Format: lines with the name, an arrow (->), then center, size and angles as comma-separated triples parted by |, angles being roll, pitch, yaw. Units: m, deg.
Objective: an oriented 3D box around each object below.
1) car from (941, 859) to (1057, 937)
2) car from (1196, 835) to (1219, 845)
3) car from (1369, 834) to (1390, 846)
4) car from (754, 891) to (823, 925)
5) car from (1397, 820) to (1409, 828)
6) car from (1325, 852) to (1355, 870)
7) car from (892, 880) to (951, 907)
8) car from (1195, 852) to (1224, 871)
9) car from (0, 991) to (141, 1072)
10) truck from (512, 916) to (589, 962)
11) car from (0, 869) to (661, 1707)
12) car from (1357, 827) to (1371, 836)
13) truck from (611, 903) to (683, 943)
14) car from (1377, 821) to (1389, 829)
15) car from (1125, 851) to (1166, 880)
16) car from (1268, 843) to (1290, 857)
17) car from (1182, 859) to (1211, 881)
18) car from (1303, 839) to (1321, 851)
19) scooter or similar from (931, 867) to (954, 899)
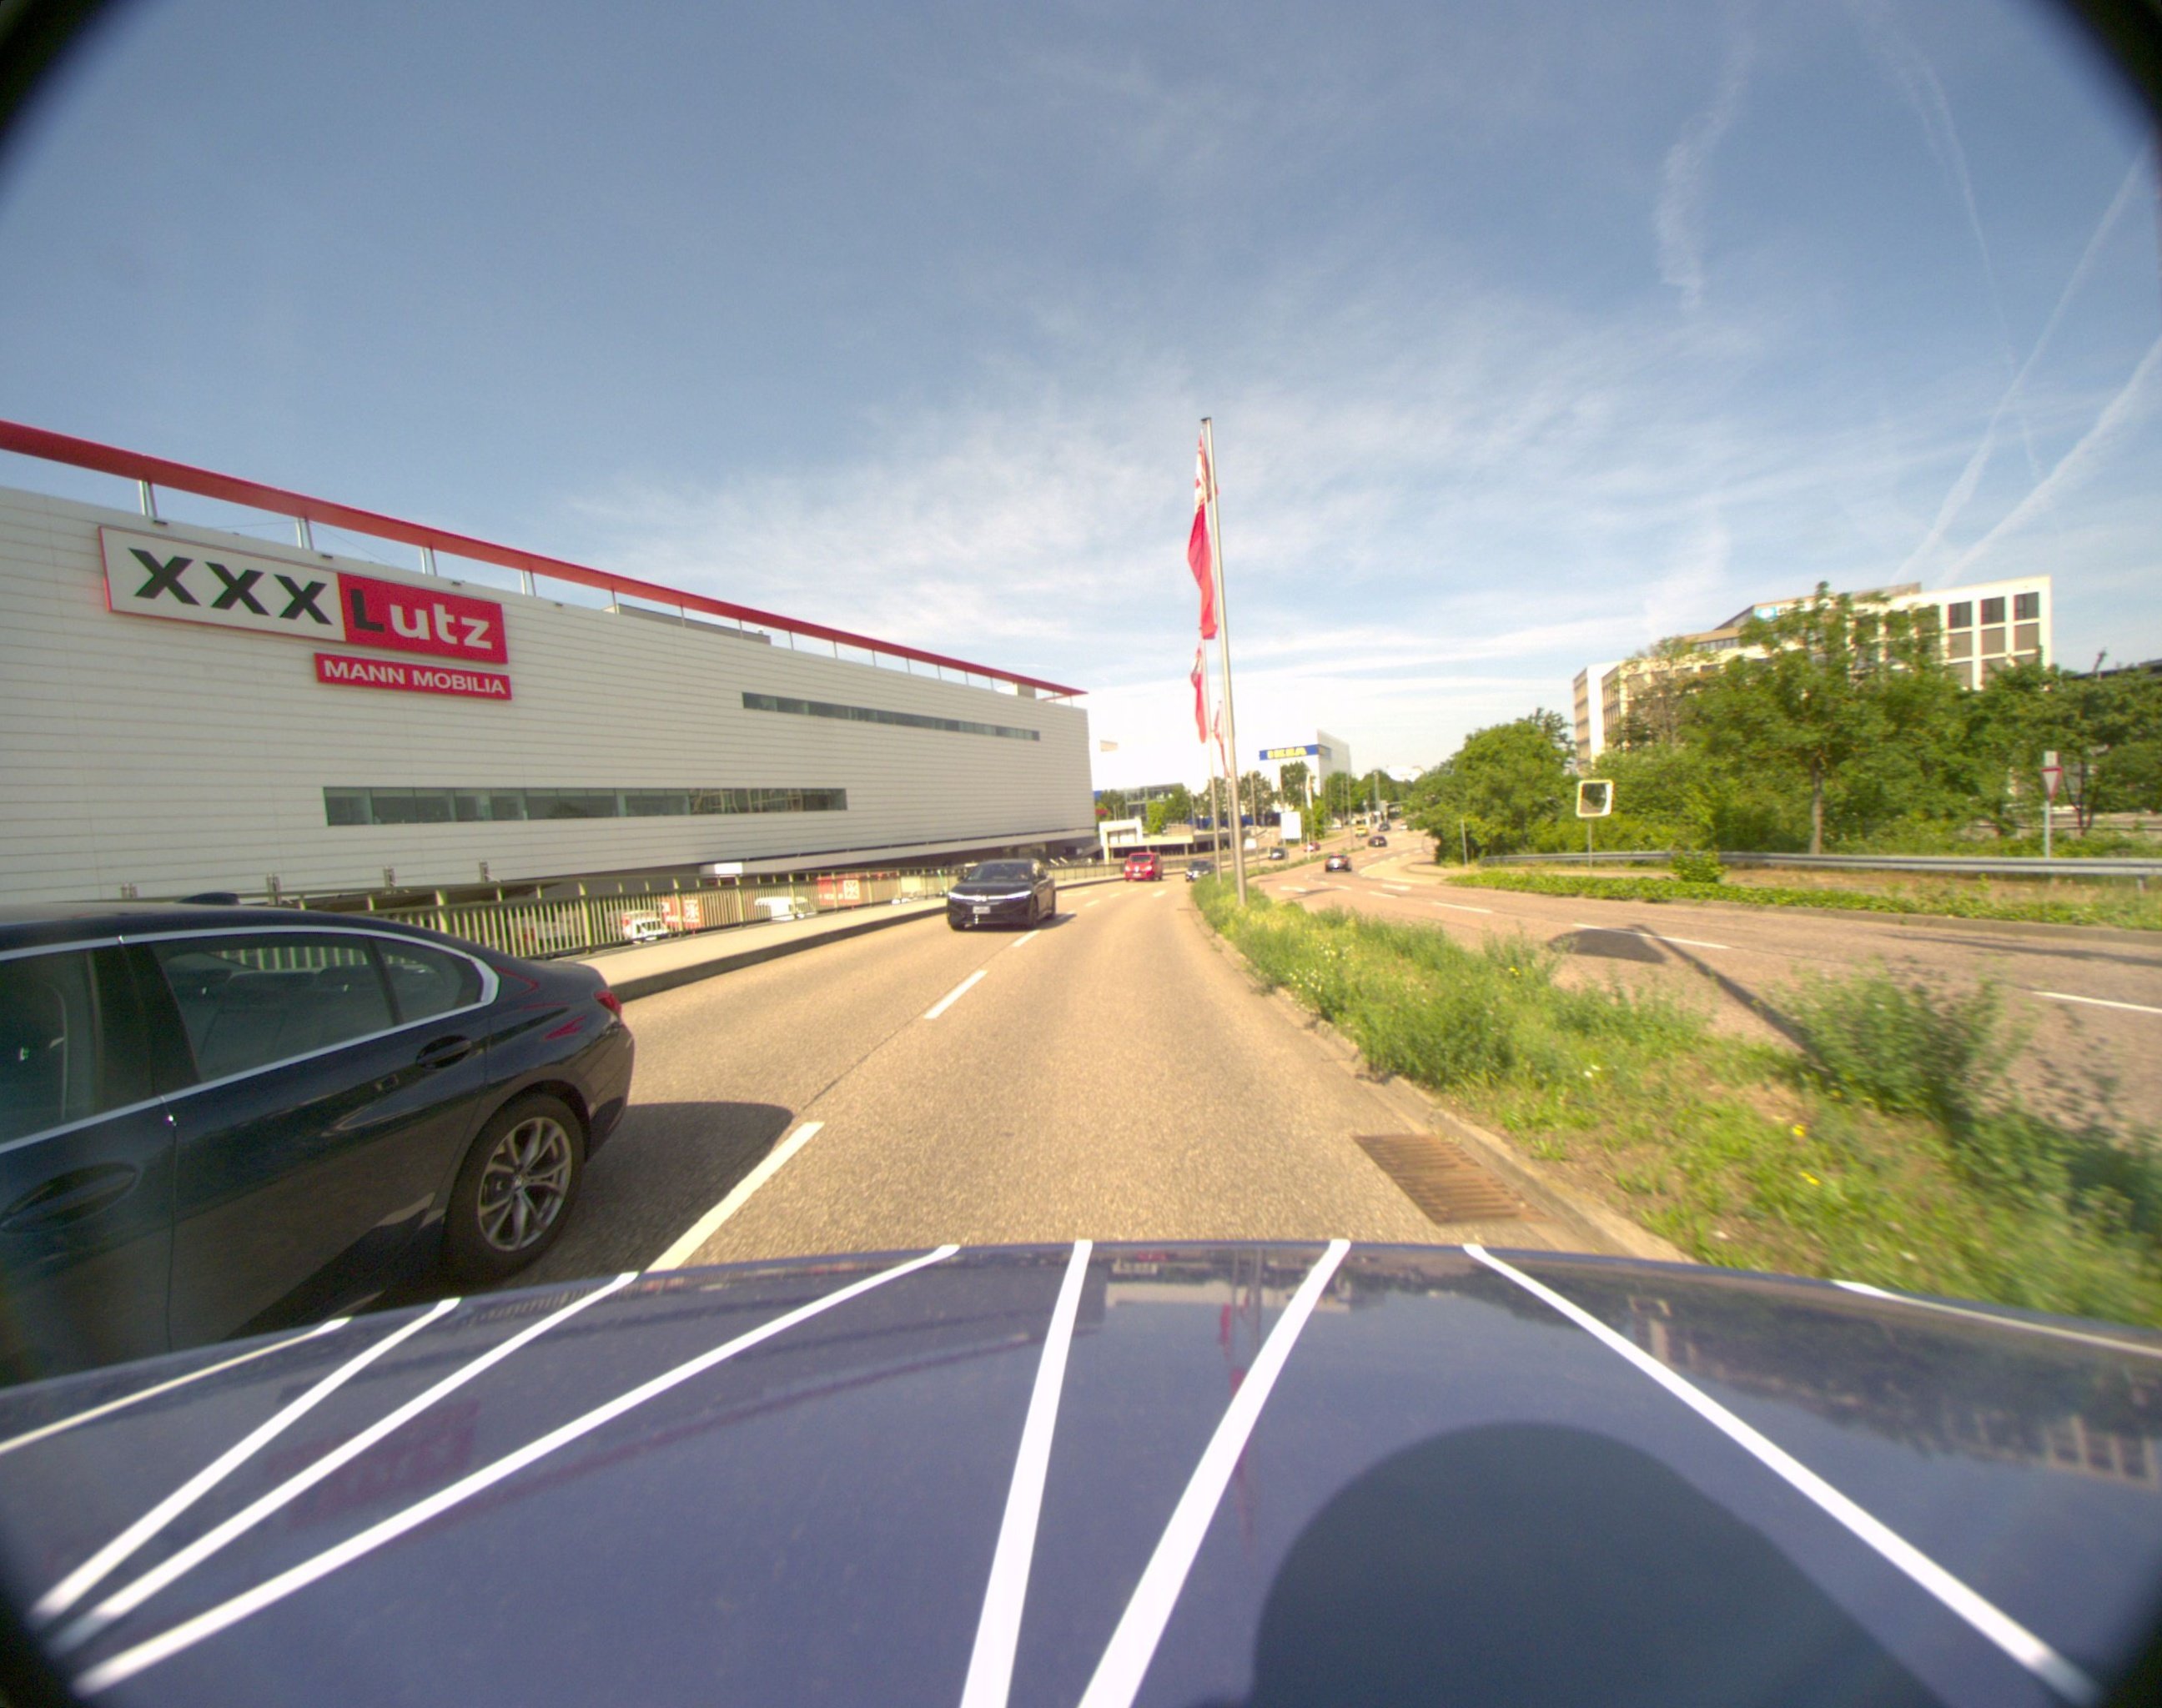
car -> -1.739, 0.912, 17.534 | 1.860, 1.520, 4.145 | 0, 0, 5
car -> 26.304, -2.945, 157.909 | 4.309, 1.824, 2.002 | -3, 2, 22
car -> 43.924, -2.138, 112.000 | 1.860, 1.521, 4.143 | -3, 3, 6
car -> -25.960, 4.813, 67.410 | 5.997, 2.606, 2.134 | -3, 3, 28
car -> 68.925, -6.464, 162.657 | 1.822, 1.466, 4.005 | -2, 3, 29
car -> 21.802, 0.563, 63.845 | 1.785, 1.476, 4.268 | -1, 0, 28
car -> -15.651, 3.838, 74.833 | 2.126, 1.994, 6.019 | -1, 4, 29
car -> 12.387, 0.719, 72.834 | 1.774, 1.648, 4.151 | -2, -1, 23
car -> -44.913, 7.747, 33.375 | 6.001, 2.911, 2.133 | -4, 3, 16
truck -> -38.710, 6.120, 55.405 | 5.997, 2.911, 2.135 | -3, 3, 31
car -> -3.030, 0.988, 1.399 | 1.792, 1.475, 4.517 | -4, 3, 1
car -> 54.817, -4.388, 147.165 | 1.822, 1.466, 4.005 | -2, 3, 29
truck -> -35.311, 5.586, 61.788 | 5.997, 2.911, 2.135 | -3, 3, 31
car -> 64.850, -6.282, 163.023 | 1.822, 1.466, 4.005 | -2, 4, 31
car -> 4.492, 0.781, 52.558 | 1.985, 1.896, 4.149 | 0, 1, 17
car -> 25.960, -0.530, 99.593 | 1.822, 1.466, 4.005 | -2, 3, 29
car -> 7.737, 1.044, 51.079 | 1.848, 1.410, 4.003 | -1, -1, 7
car -> 34.985, -1.426, 115.109 | 1.822, 1.466, 4.005 | -2, 3, 29
scooter or similar -> -5.448, 1.127, 29.877 | 0.512, 1.136, 1.482 | -4, 0, 2
